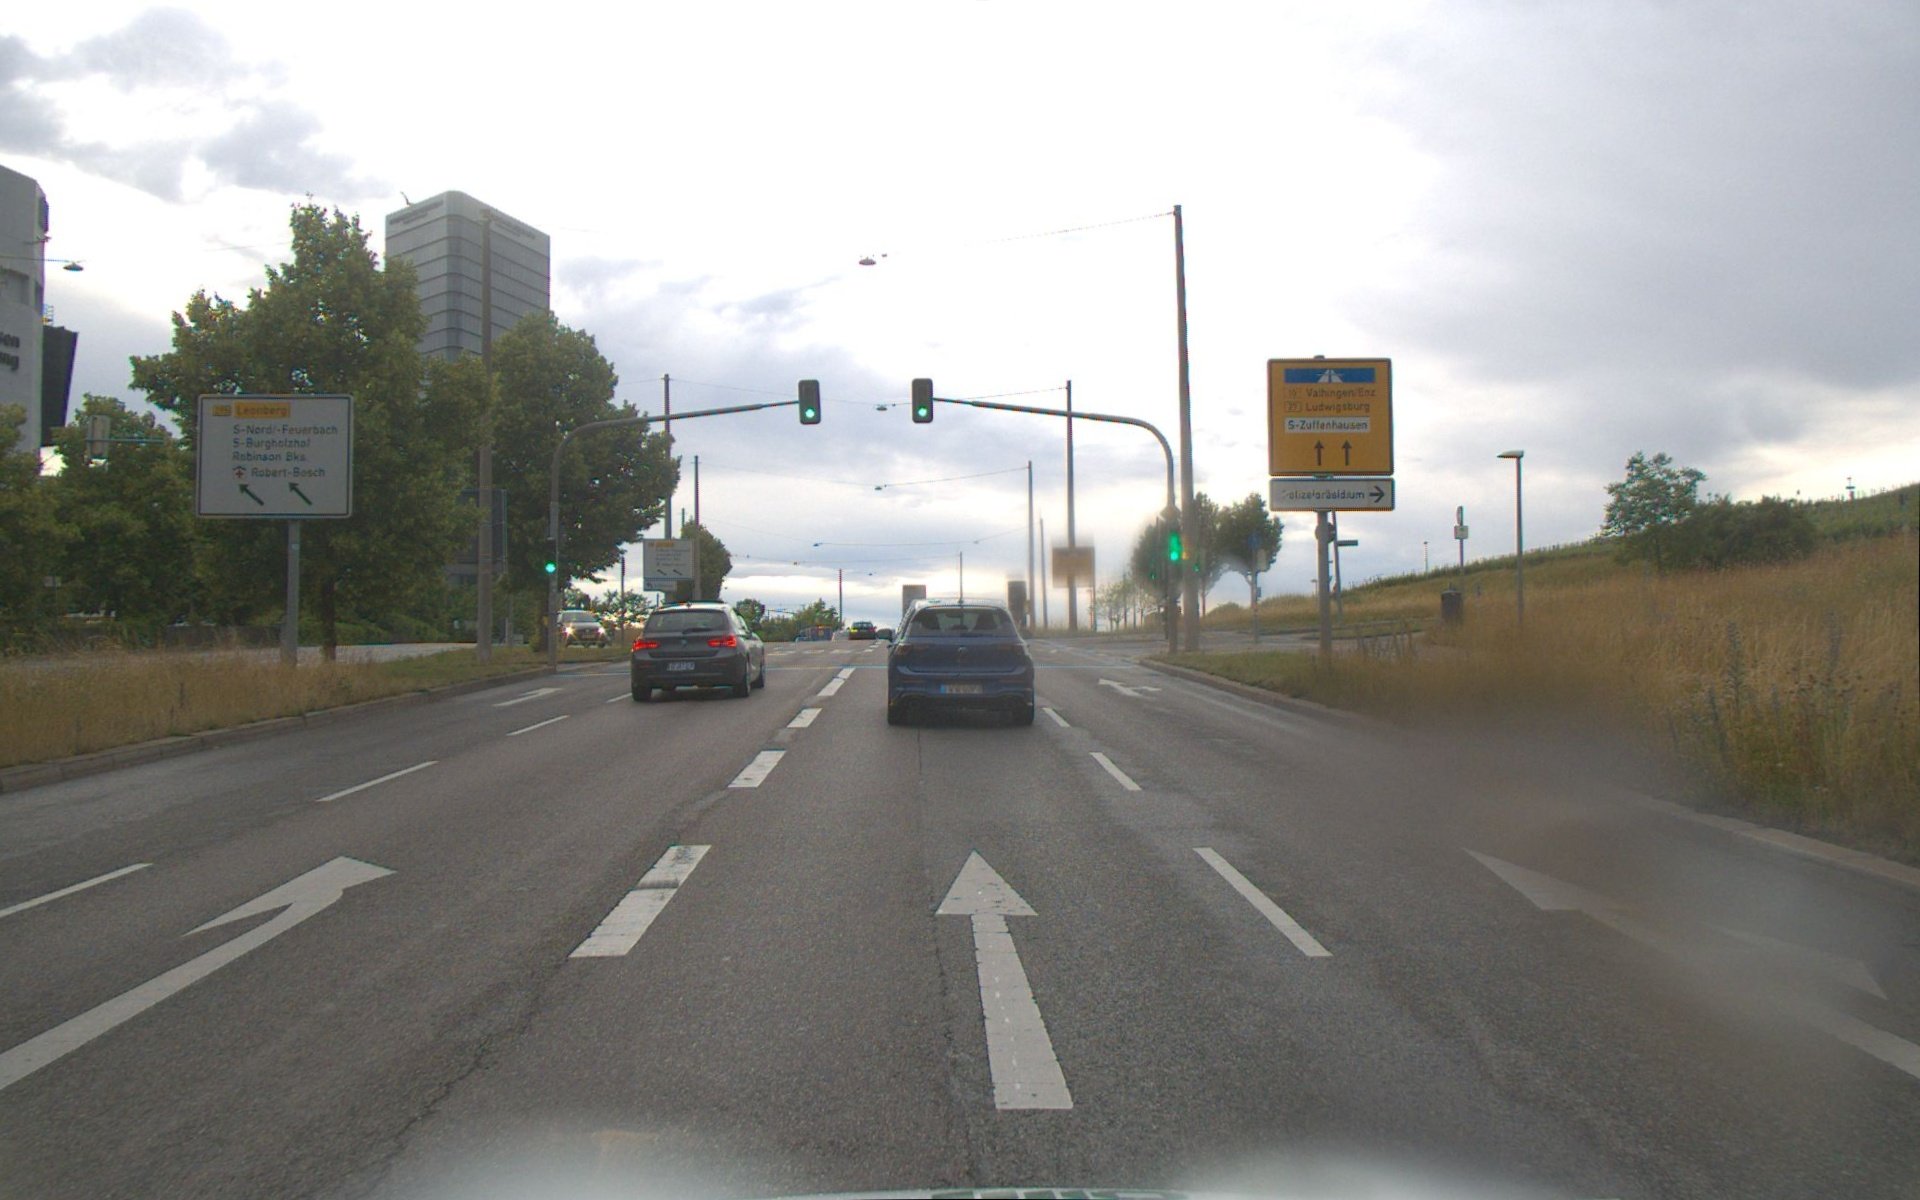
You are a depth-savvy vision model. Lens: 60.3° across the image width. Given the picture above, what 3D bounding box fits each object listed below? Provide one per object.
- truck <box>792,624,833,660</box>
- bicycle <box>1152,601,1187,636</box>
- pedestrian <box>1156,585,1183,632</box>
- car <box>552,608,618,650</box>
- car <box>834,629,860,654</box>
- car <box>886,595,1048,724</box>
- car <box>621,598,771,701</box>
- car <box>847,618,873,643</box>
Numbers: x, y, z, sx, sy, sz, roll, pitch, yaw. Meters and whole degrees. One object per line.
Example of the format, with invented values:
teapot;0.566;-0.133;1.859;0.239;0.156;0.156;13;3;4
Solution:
truck;-14.487;4.153;162.003;2.626;3.277;6.512;1;-3;-18
bicycle;7.345;0.666;58.026;0.621;1.124;1.748;-4;-2;-11
pedestrian;7.350;0.298;58.002;0.621;1.598;0.893;-2;-2;-10
car;-14.700;1.102;64.659;1.864;1.533;3.971;0;1;-23
car;-9.961;3.688;145.827;1.869;2.008;5.080;-1;-3;-9
car;0.054;0.674;20.556;1.800;1.418;3.999;1;0;-1
car;-4.059;0.727;25.991;1.831;1.487;3.974;0;0;-2
car;-6.572;2.008;108.711;1.688;1.568;3.700;2;0;-4
